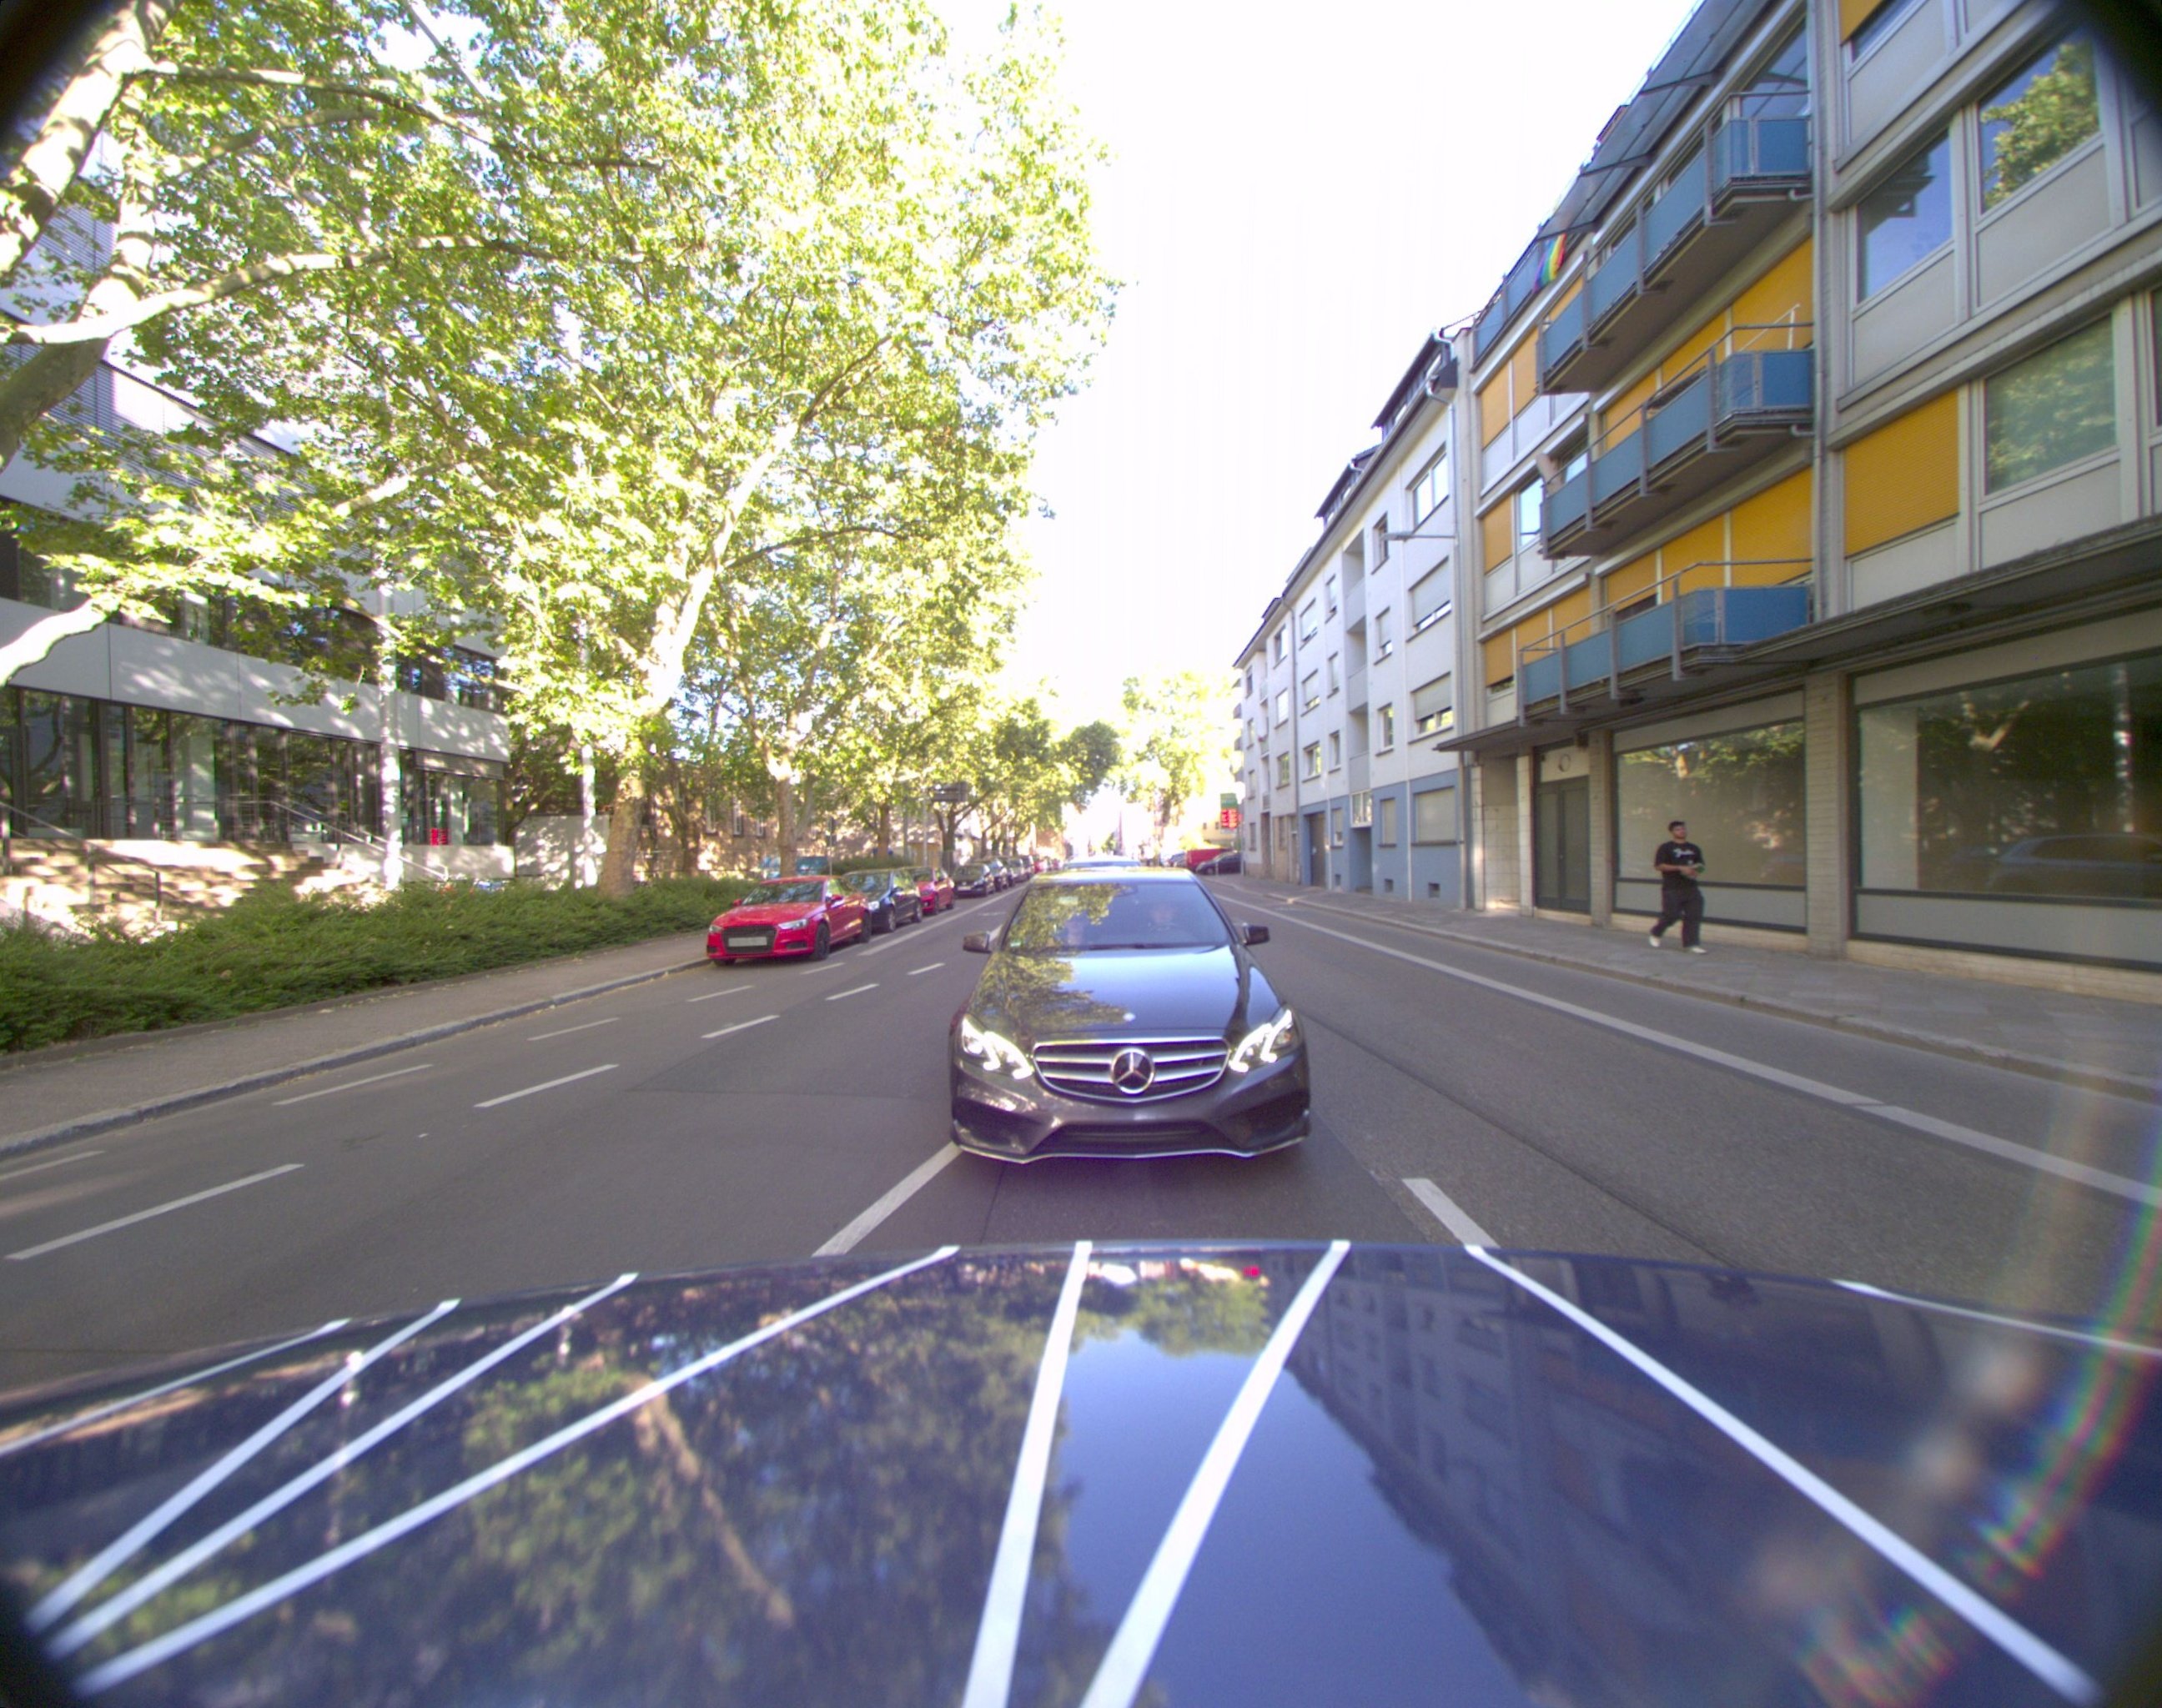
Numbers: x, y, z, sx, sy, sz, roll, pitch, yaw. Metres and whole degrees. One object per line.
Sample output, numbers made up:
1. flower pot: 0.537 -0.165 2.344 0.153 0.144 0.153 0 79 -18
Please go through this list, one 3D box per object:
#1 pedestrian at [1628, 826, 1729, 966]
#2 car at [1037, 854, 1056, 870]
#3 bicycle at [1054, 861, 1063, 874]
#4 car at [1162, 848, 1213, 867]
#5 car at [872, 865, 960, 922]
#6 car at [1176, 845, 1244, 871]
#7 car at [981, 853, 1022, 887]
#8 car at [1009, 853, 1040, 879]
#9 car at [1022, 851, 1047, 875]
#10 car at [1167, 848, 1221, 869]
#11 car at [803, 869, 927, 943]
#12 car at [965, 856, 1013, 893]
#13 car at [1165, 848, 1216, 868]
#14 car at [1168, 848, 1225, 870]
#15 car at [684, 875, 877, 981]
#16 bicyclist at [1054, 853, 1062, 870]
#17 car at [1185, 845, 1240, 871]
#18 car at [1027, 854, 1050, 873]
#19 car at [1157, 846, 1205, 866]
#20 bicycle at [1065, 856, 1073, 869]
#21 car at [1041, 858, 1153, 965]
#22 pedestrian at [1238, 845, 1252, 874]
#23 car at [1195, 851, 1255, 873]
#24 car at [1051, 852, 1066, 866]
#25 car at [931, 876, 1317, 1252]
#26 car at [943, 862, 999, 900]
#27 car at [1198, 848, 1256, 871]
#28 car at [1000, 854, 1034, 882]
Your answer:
1. pedestrian: 7.854 0.532 10.020 0.663 1.761 0.793 -2 1 1
2. car: -3.769 0.883 83.508 1.755 1.652 4.447 -3 0 1
3. bicycle: -1.909 1.149 63.612 0.650 1.053 1.595 -2 0 1
4. car: 11.330 0.359 81.177 5.042 1.926 2.315 -2 0 1
5. car: -5.030 1.152 23.648 1.755 1.459 3.909 -3 0 1
6. car: 10.643 0.303 63.097 5.223 1.969 2.257 -2 0 1
7. car: -4.548 0.879 44.055 1.755 1.810 4.447 -3 0 1
8. car: -4.096 0.832 55.749 1.755 1.753 4.447 -3 0 1
9. car: -3.990 0.740 66.382 1.755 1.941 4.447 -3 0 1
10. car: 11.279 0.415 76.214 5.054 1.926 2.161 -2 0 1
11. car: -5.080 1.178 18.436 1.755 1.424 3.909 -3 0 1
12. car: -4.557 0.984 38.256 1.755 1.644 4.174 -3 0 1
13. car: 11.294 0.384 78.712 4.991 1.926 2.083 -2 0 1
14. car: 11.107 0.453 73.513 5.143 1.926 2.187 -2 0 1
15. car: -5.121 1.187 13.590 1.755 1.400 4.000 -3 0 1
16. bicyclist: -1.922 0.640 63.644 0.650 1.427 0.741 -2 1 1
17. car: 10.338 0.309 60.073 3.997 1.926 1.867 -2 0 1
18. car: -3.996 0.915 72.168 1.755 1.652 4.447 -3 0 1
19. car: 11.197 0.213 85.513 5.143 2.135 2.187 -2 0 1
20. bicycle: -0.983 0.679 63.430 0.574 1.053 1.595 -2 0 1
21. car: 0.275 0.890 13.602 1.667 1.563 4.000 -1 0 1
22. pedestrian: 9.891 0.337 45.890 0.608 1.737 0.756 -2 1 1
23. car: 10.363 0.570 54.773 3.997 1.412 1.743 -2 0 1
24. car: -3.007 0.665 103.196 1.755 1.652 4.447 -3 0 1
25. car: 0.216 0.986 5.350 1.667 1.499 4.000 -1 0 1
26. car: -4.745 1.125 33.286 1.755 1.424 3.909 -3 0 1
27. car: 10.919 0.399 56.983 3.997 1.552 1.743 -2 0 1
28. car: -4.266 0.889 50.938 1.755 1.718 4.447 -3 0 1
